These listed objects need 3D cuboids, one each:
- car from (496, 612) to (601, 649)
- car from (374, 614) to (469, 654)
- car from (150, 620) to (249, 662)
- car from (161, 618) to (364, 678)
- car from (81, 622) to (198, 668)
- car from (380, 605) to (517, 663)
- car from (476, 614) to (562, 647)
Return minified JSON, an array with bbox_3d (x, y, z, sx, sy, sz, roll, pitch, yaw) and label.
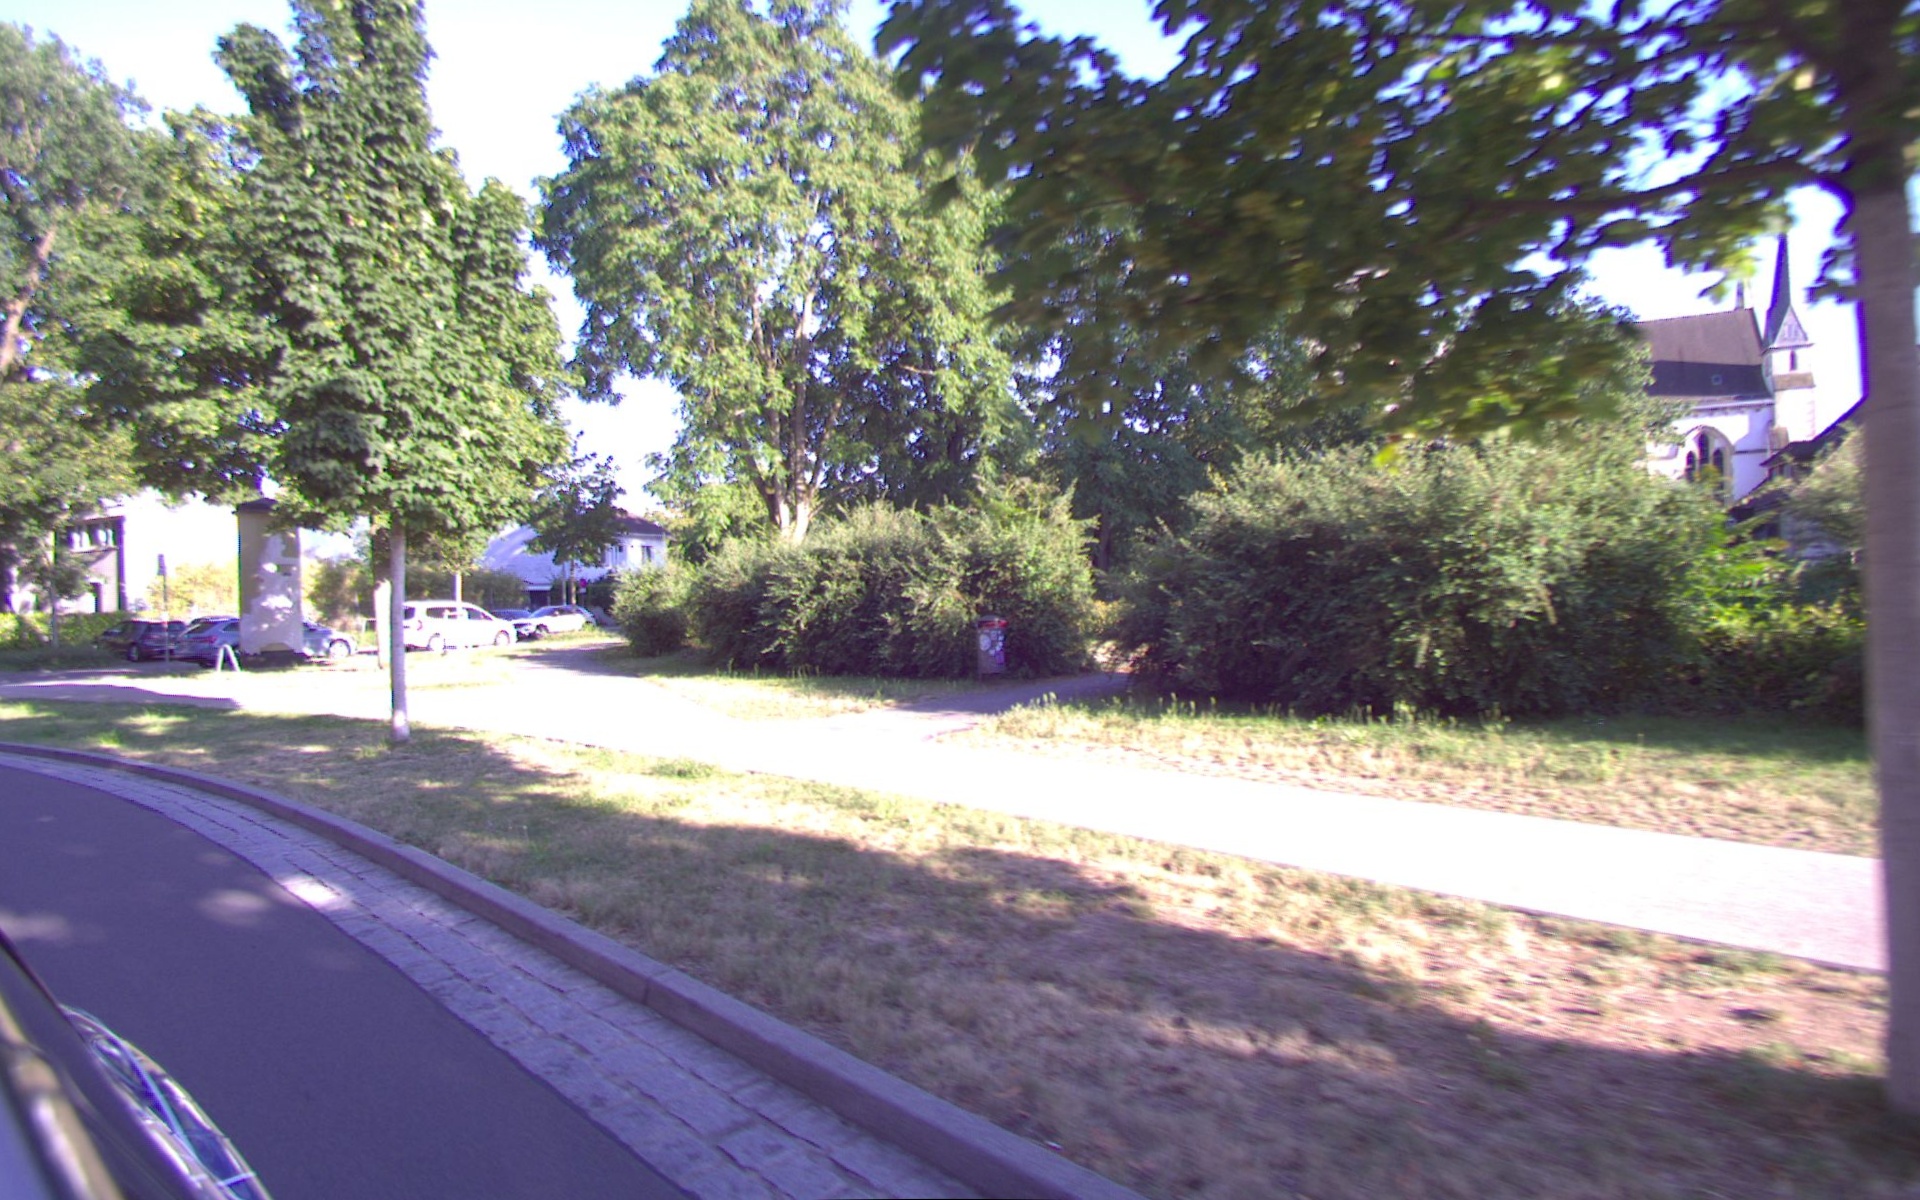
[{"bbox_3d":[-18.902,1.383,46.641,1.776,1.546,4.303,-3,-2,29],"label":"car"},{"bbox_3d":[-24.502,1.552,46.042,3.900,1.549,1.731,-3,1,24],"label":"car"},{"bbox_3d":[-28.981,1.536,38.569,3.336,1.502,1.624,0,0,24],"label":"car"},{"bbox_3d":[-20.966,1.393,30.677,1.858,1.570,4.795,-2,-1,26],"label":"car"},{"bbox_3d":[-29.023,1.556,35.783,3.977,1.527,1.632,-1,0,25],"label":"car"},{"bbox_3d":[-18.388,1.181,36.572,1.753,1.931,4.201,-2,-1,26],"label":"car"},{"bbox_3d":[-21.779,1.486,50.004,3.900,1.549,1.731,0,0,24],"label":"car"}]
